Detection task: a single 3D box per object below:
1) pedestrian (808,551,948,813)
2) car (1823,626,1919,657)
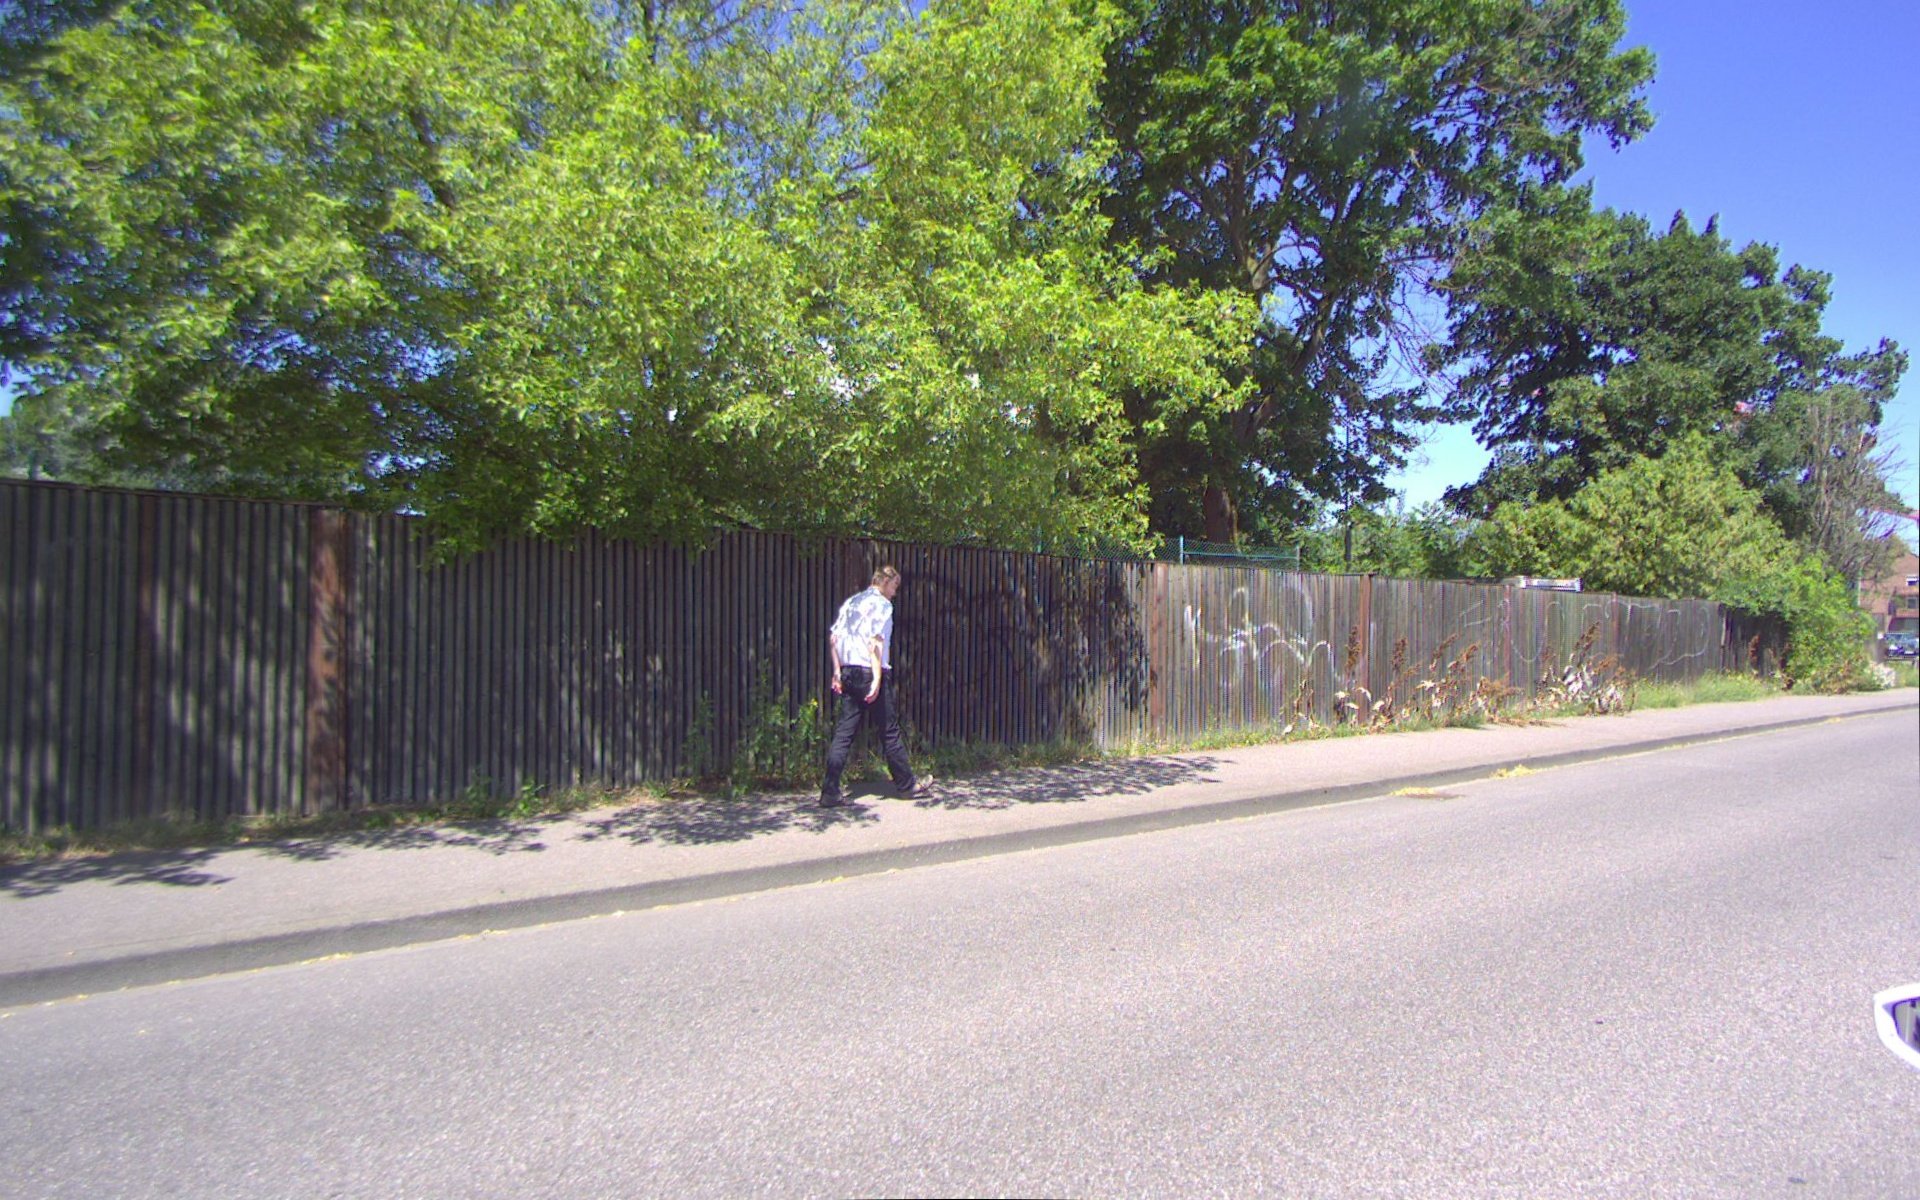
[{"bbox_3d":[-0.624,0.590,7.575,0.841,1.849,0.589,2,0,-30],"label":"pedestrian"},{"bbox_3d":[52.248,2.349,57.560,1.960,1.617,4.449,2,0,4],"label":"car"}]
